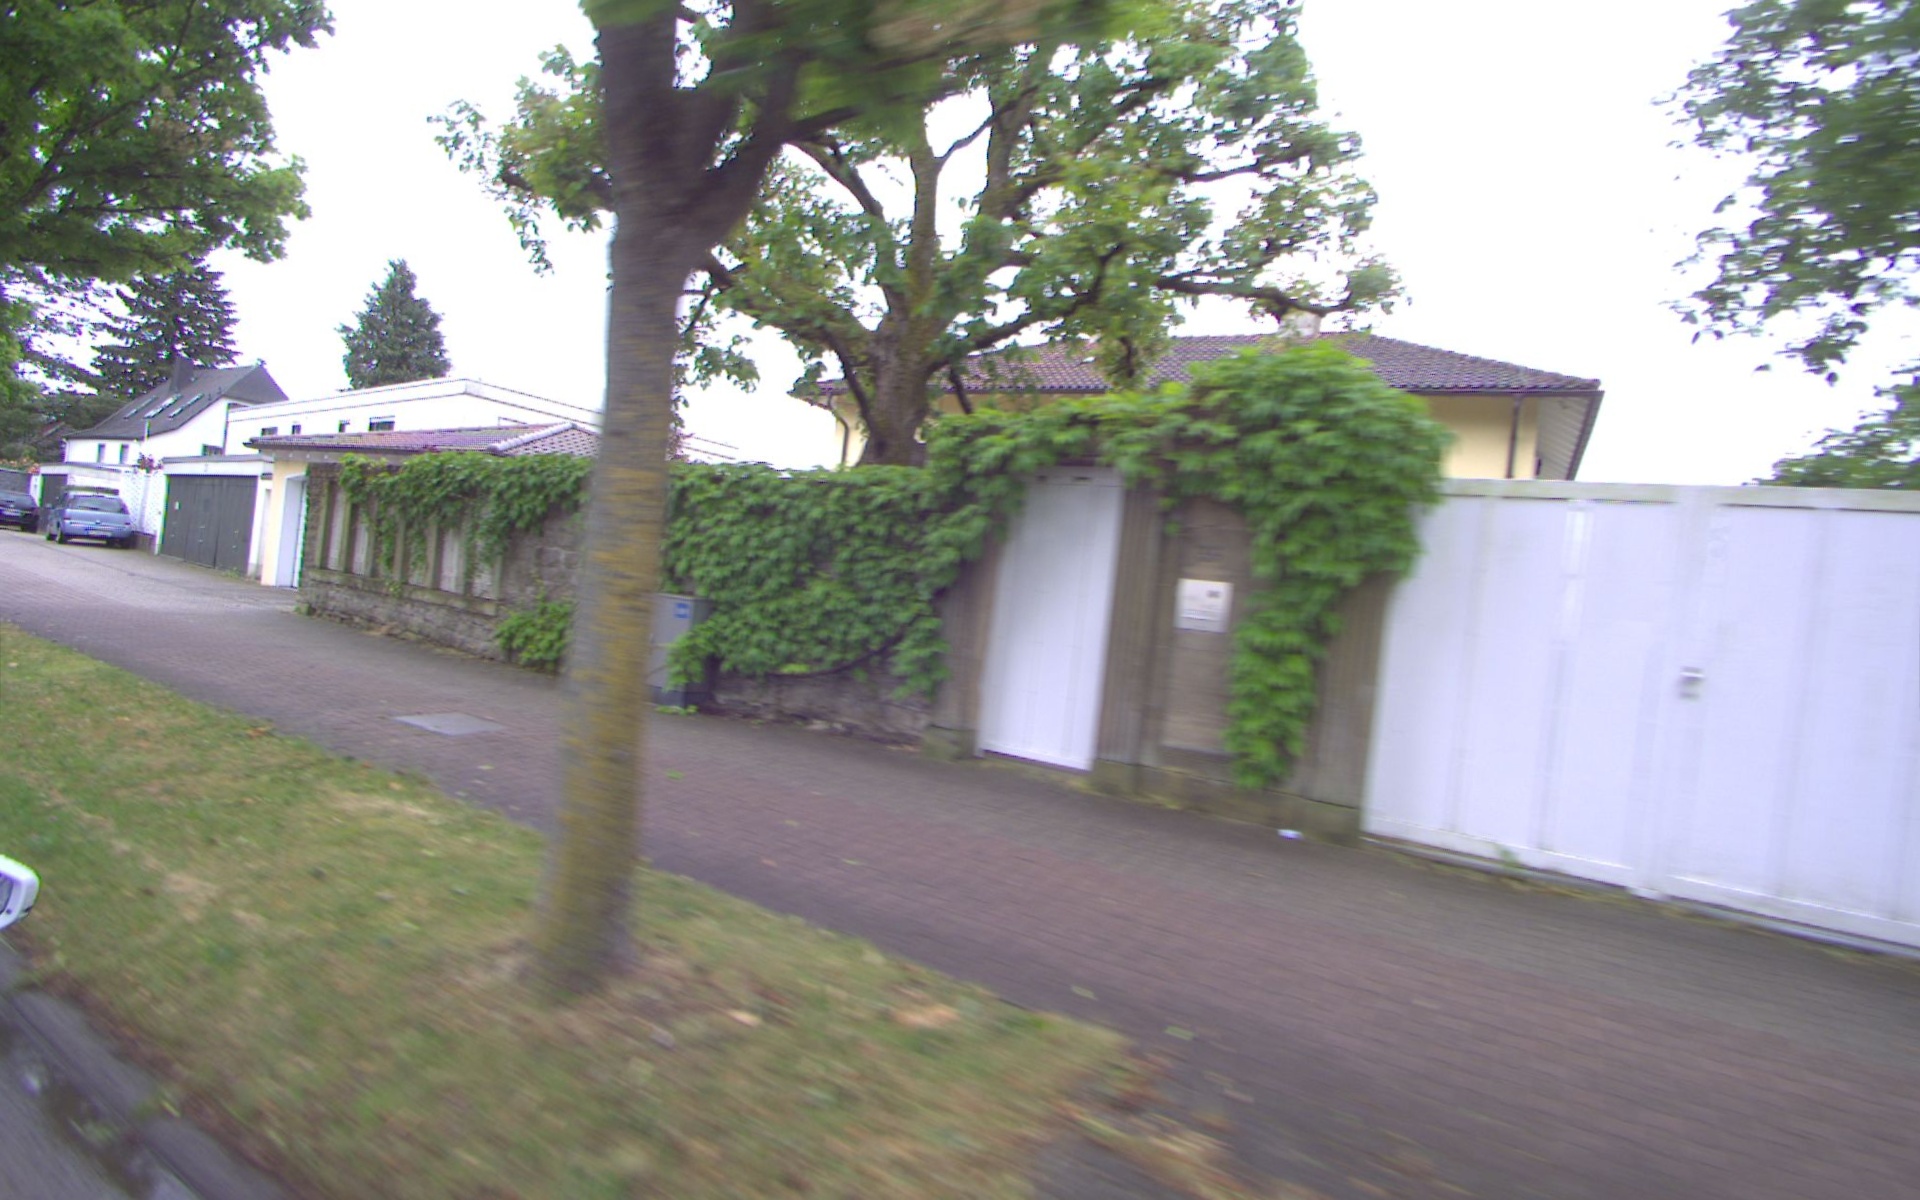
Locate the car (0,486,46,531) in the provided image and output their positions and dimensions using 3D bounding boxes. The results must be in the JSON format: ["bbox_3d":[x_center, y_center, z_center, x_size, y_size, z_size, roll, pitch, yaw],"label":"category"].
[{"bbox_3d":[-36.714,-3.589,38.720,4.482,1.516,1.768,6,0,42],"label":"car"}]

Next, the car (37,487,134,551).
[{"bbox_3d":[-27.109,-2.520,31.146,3.945,1.631,1.741,6,0,42],"label":"car"}]
